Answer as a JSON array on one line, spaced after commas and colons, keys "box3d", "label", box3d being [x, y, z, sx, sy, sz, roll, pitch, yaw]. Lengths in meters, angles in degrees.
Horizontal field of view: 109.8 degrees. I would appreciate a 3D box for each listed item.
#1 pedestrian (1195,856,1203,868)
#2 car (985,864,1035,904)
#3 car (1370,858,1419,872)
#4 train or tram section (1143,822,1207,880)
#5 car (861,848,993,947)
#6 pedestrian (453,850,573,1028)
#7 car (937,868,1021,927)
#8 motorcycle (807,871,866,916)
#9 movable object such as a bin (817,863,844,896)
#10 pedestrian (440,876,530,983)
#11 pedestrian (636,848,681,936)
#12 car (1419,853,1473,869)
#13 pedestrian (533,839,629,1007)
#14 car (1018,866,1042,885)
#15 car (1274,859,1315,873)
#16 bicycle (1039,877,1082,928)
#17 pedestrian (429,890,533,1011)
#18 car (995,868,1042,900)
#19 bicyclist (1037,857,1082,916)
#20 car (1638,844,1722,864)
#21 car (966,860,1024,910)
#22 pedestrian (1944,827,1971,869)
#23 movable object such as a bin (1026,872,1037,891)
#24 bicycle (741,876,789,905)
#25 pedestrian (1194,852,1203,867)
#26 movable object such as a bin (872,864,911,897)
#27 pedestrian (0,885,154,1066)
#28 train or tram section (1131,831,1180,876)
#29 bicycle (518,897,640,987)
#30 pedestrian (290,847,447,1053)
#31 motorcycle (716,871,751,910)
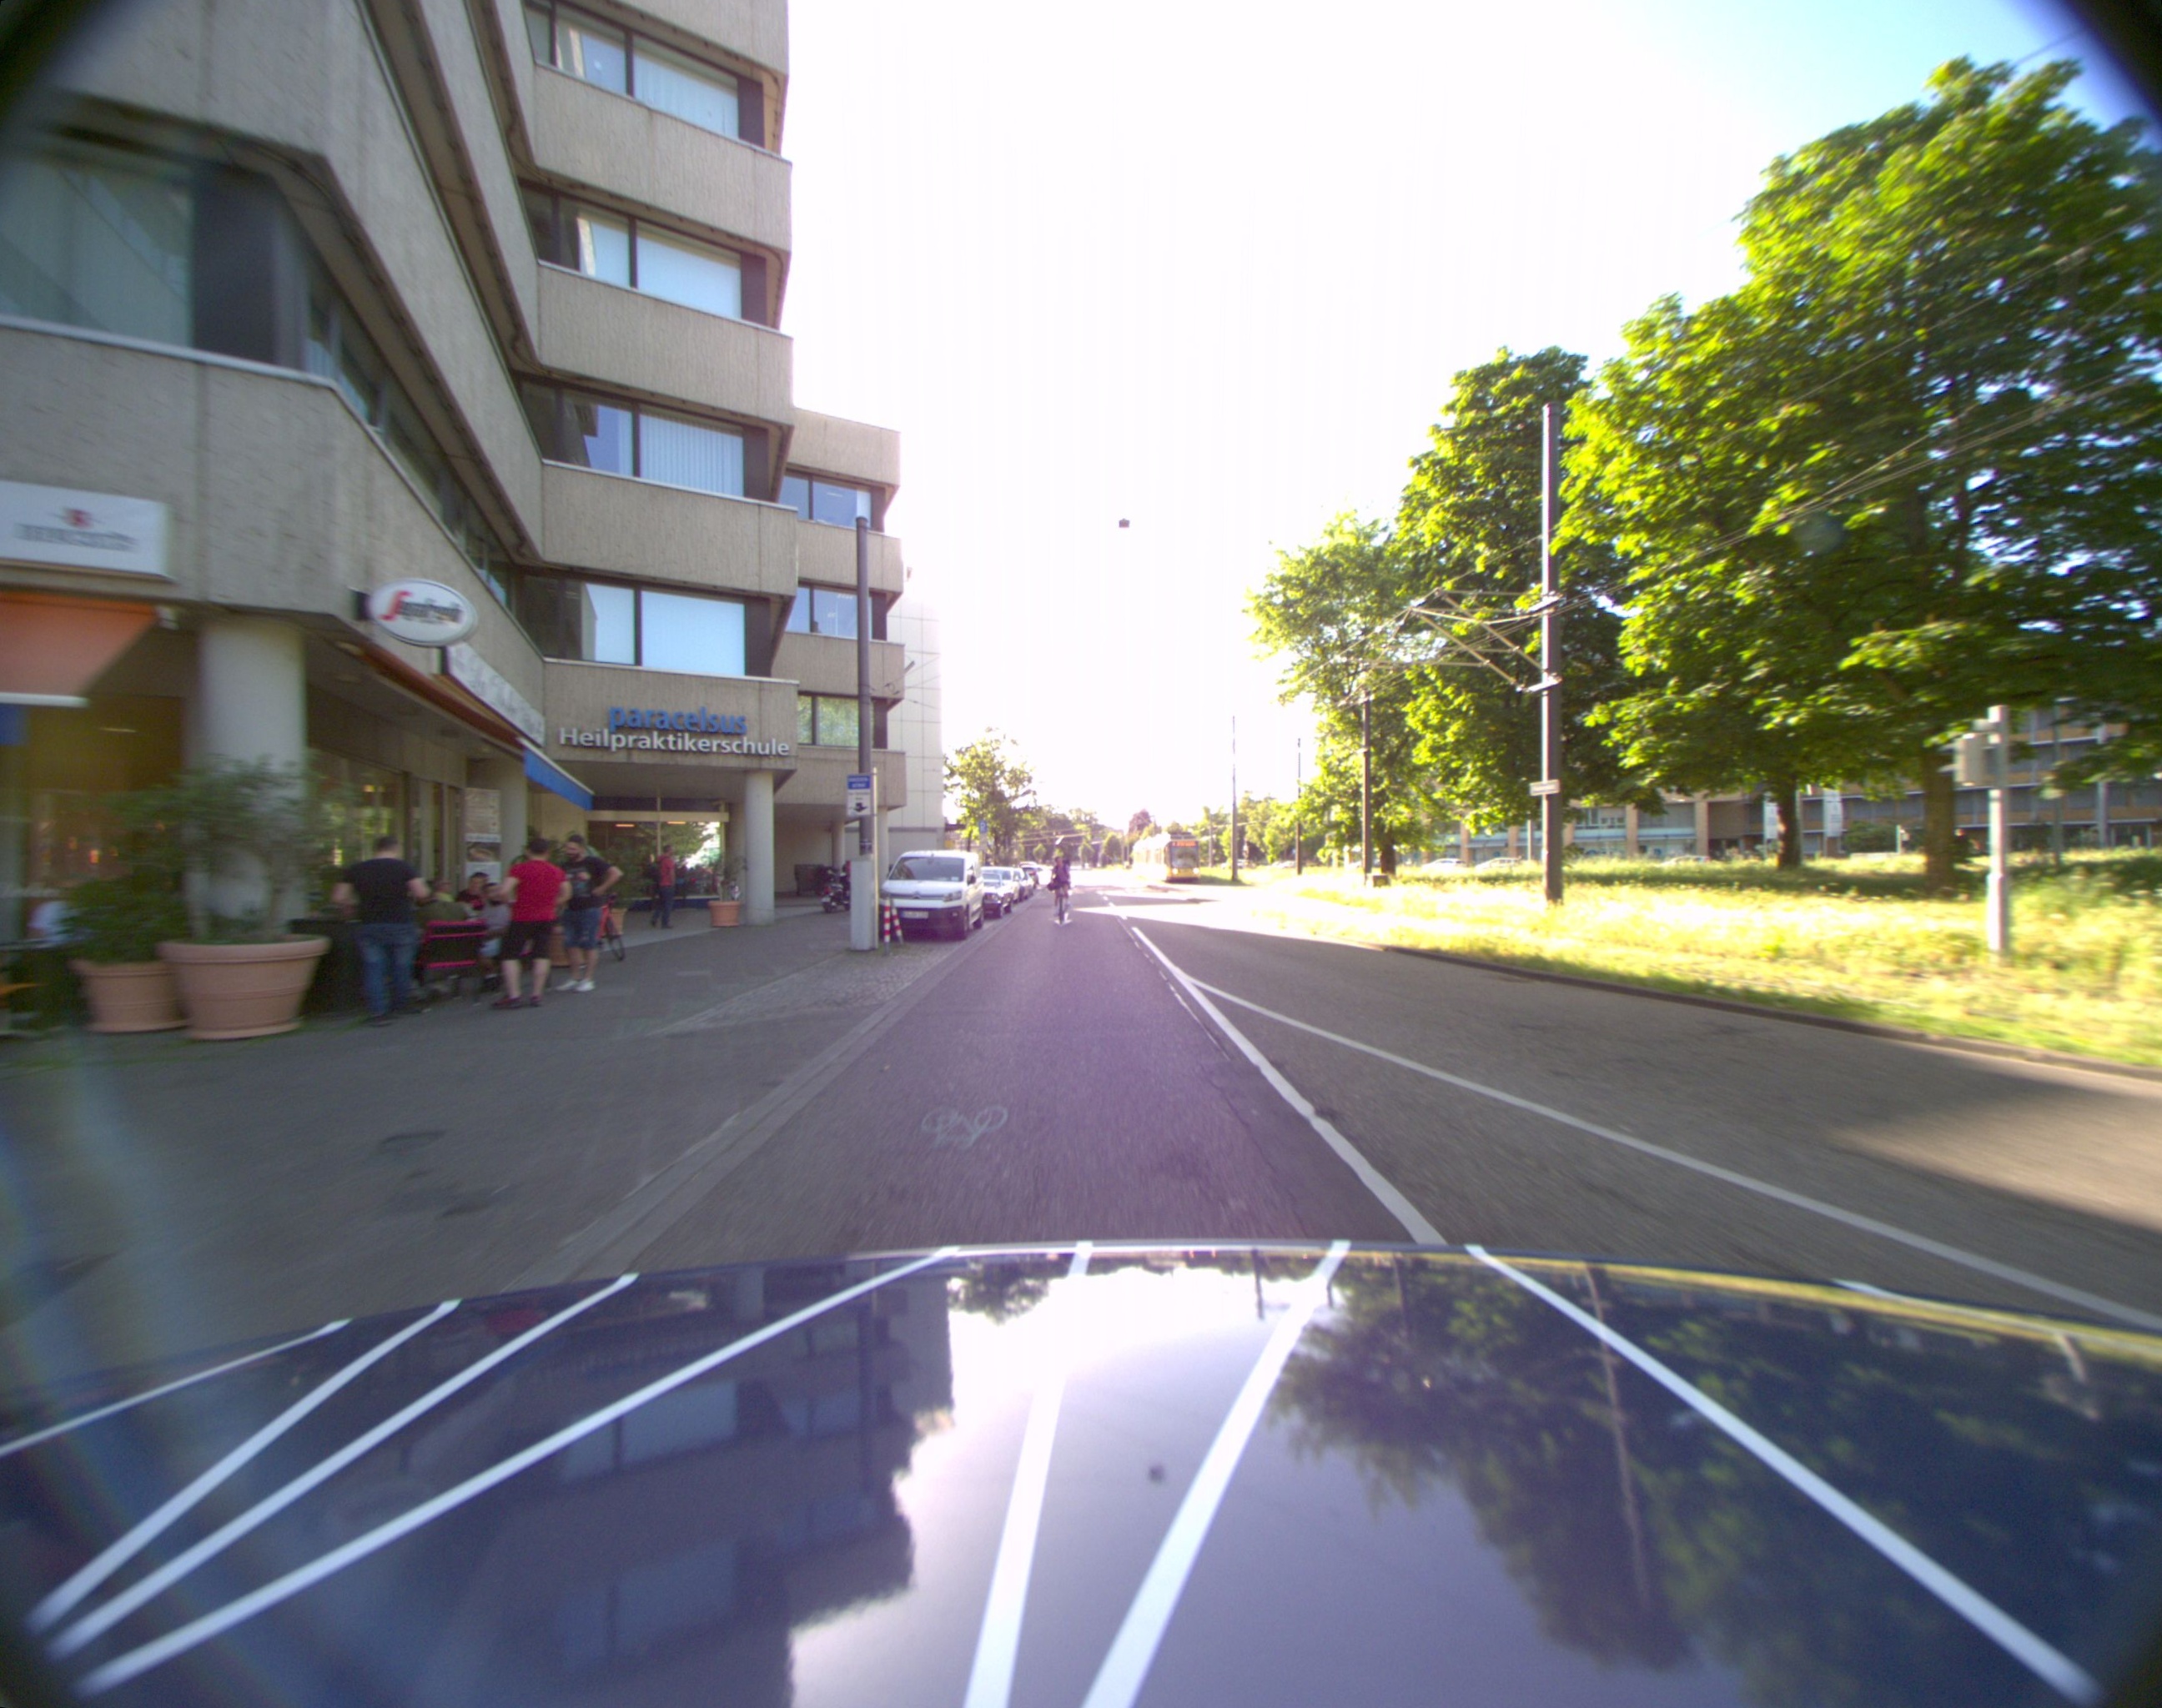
[{"box3d": [21.014, 1.425, 135.390, 0.880, 2.002, 0.923, -3, 1, -24], "label": "pedestrian"}, {"box3d": [-3.101, 1.274, 34.020, 1.675, 1.510, 4.199, -2, 1, 2], "label": "car"}, {"box3d": [34.129, 1.184, 82.864, 2.002, 1.439, 5.010, -3, 1, -22], "label": "car"}, {"box3d": [6.652, -0.109, 55.903, 2.956, 3.663, 13.185, -2, -1, 0], "label": "train or tram section"}, {"box3d": [-3.167, 0.802, 16.587, 1.999, 1.802, 4.308, -2, 1, -1], "label": "car"}, {"box3d": [-5.736, 0.826, 7.707, 0.585, 1.704, 0.698, -2, 1, 3], "label": "pedestrian"}, {"box3d": [-3.039, 1.254, 23.526, 1.778, 1.445, 4.730, -2, 1, 2], "label": "car"}, {"box3d": [-6.999, 1.112, 21.877, 0.765, 1.148, 2.048, 1, 1, 9], "label": "motorcycle"}, {"box3d": [-11.033, 1.119, 33.466, 0.794, 1.375, 0.852, -2, 1, 8], "label": "movable object such as a bin"}, {"box3d": [-9.141, 1.134, 11.692, 0.664, 1.547, 0.844, -3, 0, -3], "label": "pedestrian"}, {"box3d": [-9.036, 0.794, 16.249, 0.718, 1.805, 0.704, -3, 1, -34], "label": "pedestrian"}, {"box3d": [36.917, 0.703, 76.925, 2.002, 1.587, 4.646, -3, 1, -26], "label": "car"}, {"box3d": [-5.709, 0.759, 8.700, 0.672, 1.845, 0.610, 1, 1, 3], "label": "pedestrian"}, {"box3d": [-3.936, 1.645, 59.568, 1.770, 1.429, 4.582, 0, -1, -3], "label": "car"}, {"box3d": [27.105, 1.506, 96.536, 2.109, 1.724, 5.075, -1, 0, -26], "label": "car"}, {"box3d": [-0.502, 1.242, 19.932, 0.887, 1.129, 2.229, -2, 1, 4], "label": "bicycle"}, {"box3d": [-6.542, 1.032, 8.309, 0.631, 1.229, 0.624, 1, 1, 3], "label": "pedestrian"}, {"box3d": [-3.128, 1.502, 38.824, 1.855, 1.336, 4.599, -2, 1, 2], "label": "car"}, {"box3d": [-0.558, 0.844, 19.993, 1.040, 1.475, 0.988, -2, 1, 4], "label": "bicyclist"}, {"box3d": [46.862, 0.017, 59.562, 2.003, 1.346, 4.757, -2, -1, -34], "label": "car"}, {"box3d": [-3.328, 1.167, 29.997, 1.856, 1.679, 3.866, -2, 1, -1], "label": "car"}, {"box3d": [34.480, -0.239, 29.879, 0.553, 1.606, 0.676, -1, 1, 37], "label": "pedestrian"}, {"box3d": [-2.988, 1.652, 45.925, 0.594, 1.077, 0.604, -2, 1, -4], "label": "movable object such as a bin"}, {"box3d": [-11.570, 1.341, 27.796, 1.853, 0.975, 0.683, -3, -1, 34], "label": "bicycle"}, {"box3d": [13.822, 0.635, 89.228, 0.736, 1.661, 0.743, -1, 0, -17], "label": "pedestrian"}, {"box3d": [-8.575, 1.205, 34.471, 1.338, 1.389, 1.122, -2, 1, 7], "label": "movable object such as a bin"}, {"box3d": [-8.168, 0.907, 5.932, 0.844, 1.284, 0.830, 1, 1, -12], "label": "pedestrian"}, {"box3d": [6.540, 0.046, 68.924, 2.956, 3.591, 13.635, -2, -1, 0], "label": "train or tram section"}, {"box3d": [-6.961, 1.188, 10.641, 0.564, 1.028, 1.644, -2, 1, 0], "label": "bicycle"}, {"box3d": [-6.306, 0.799, 6.783, 0.845, 1.700, 0.718, 1, 0, -28], "label": "pedestrian"}, {"box3d": [-10.891, 1.115, 23.859, 0.513, 1.161, 2.099, -2, -1, -12], "label": "motorcycle"}]
